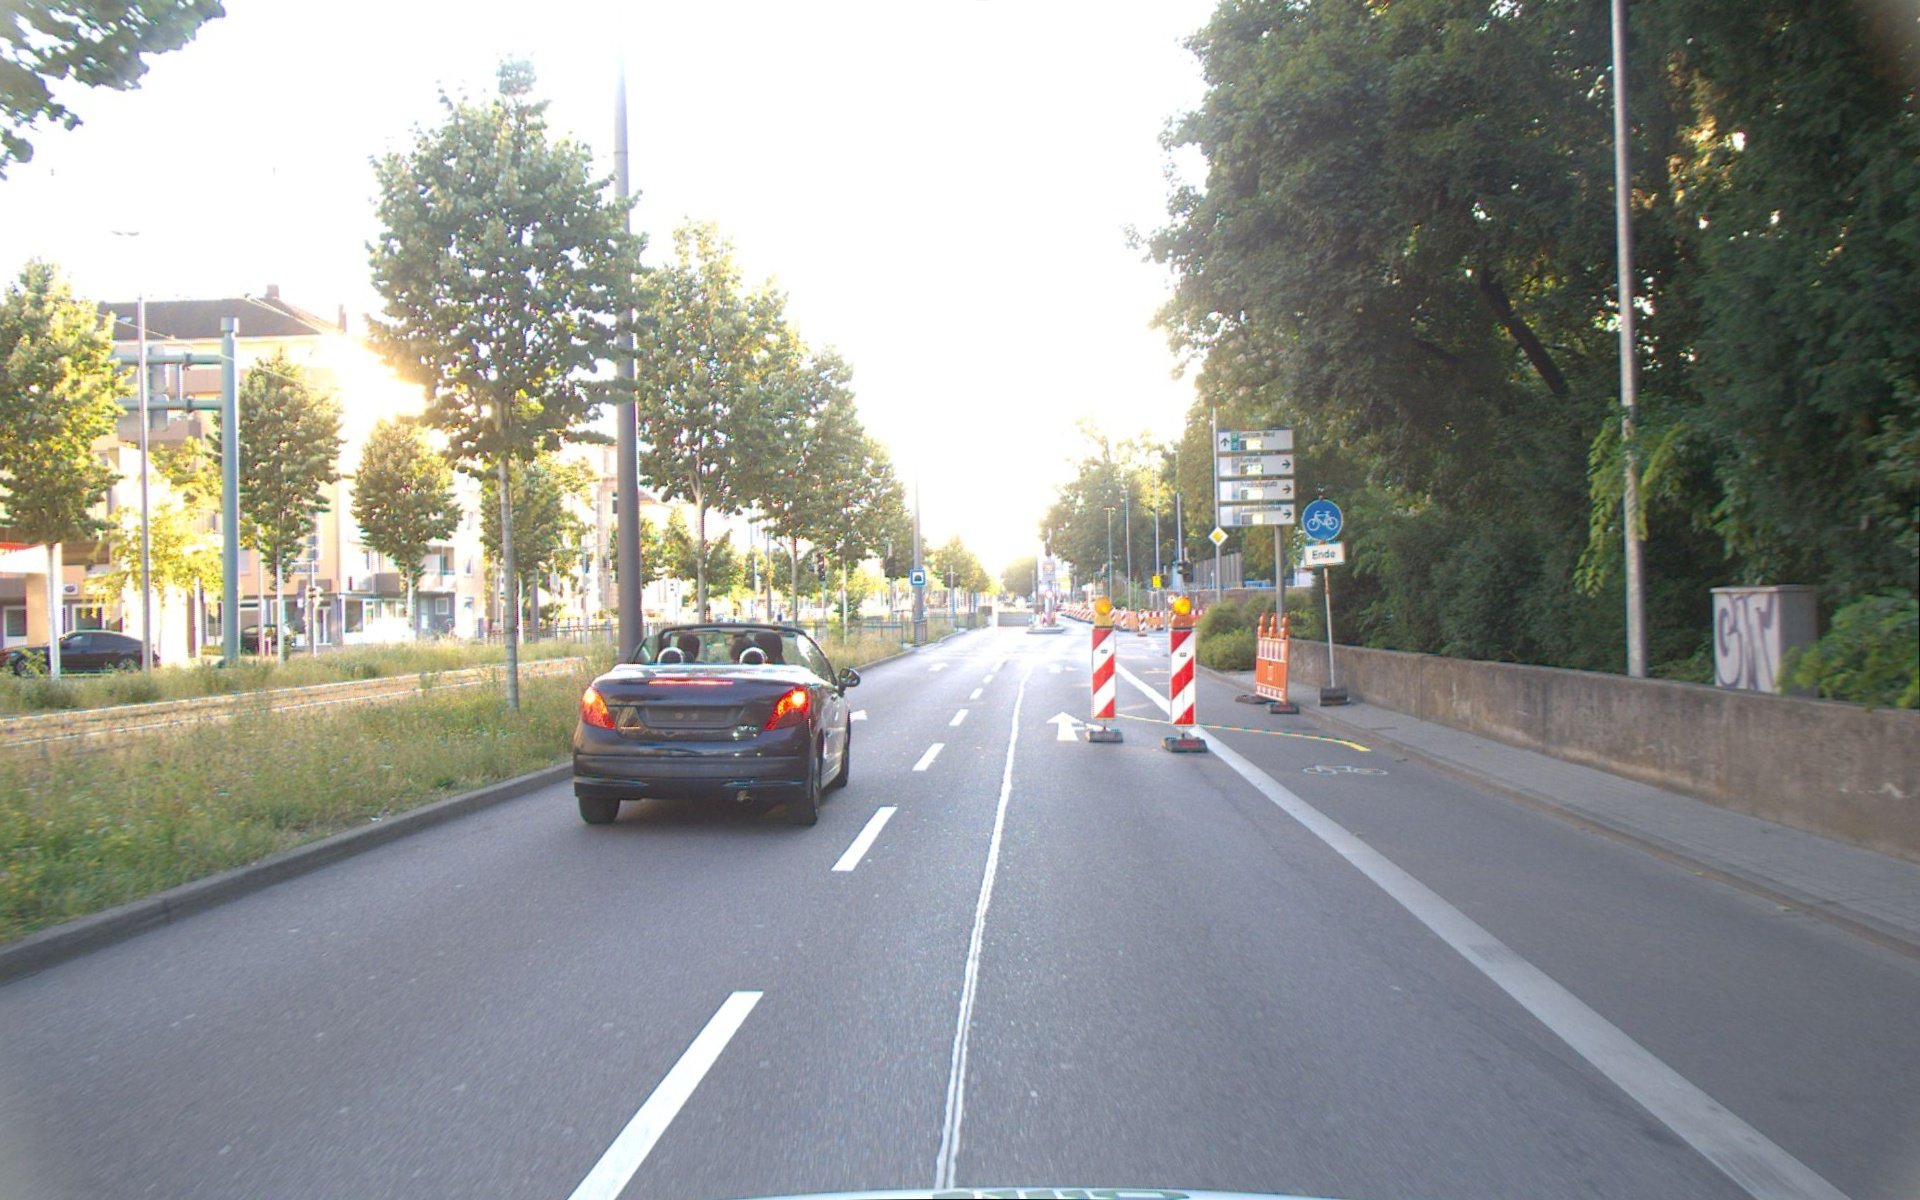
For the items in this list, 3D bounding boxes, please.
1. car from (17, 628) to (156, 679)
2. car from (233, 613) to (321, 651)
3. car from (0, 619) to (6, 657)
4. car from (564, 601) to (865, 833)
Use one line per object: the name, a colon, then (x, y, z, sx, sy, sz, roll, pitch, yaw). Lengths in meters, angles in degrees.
car: (-28.015, 1.706, 53.095, 3.695, 1.475, 1.719, -1, -1, -40)
car: (-37.175, 1.731, 90.071, 3.852, 1.878, 2.192, -2, 0, 2)
car: (-54.104, 2.092, 88.913, 4.394, 2.025, 2.167, -1, 0, 2)
car: (-1.713, 0.762, 12.729, 1.683, 1.475, 3.901, 1, 0, 1)
